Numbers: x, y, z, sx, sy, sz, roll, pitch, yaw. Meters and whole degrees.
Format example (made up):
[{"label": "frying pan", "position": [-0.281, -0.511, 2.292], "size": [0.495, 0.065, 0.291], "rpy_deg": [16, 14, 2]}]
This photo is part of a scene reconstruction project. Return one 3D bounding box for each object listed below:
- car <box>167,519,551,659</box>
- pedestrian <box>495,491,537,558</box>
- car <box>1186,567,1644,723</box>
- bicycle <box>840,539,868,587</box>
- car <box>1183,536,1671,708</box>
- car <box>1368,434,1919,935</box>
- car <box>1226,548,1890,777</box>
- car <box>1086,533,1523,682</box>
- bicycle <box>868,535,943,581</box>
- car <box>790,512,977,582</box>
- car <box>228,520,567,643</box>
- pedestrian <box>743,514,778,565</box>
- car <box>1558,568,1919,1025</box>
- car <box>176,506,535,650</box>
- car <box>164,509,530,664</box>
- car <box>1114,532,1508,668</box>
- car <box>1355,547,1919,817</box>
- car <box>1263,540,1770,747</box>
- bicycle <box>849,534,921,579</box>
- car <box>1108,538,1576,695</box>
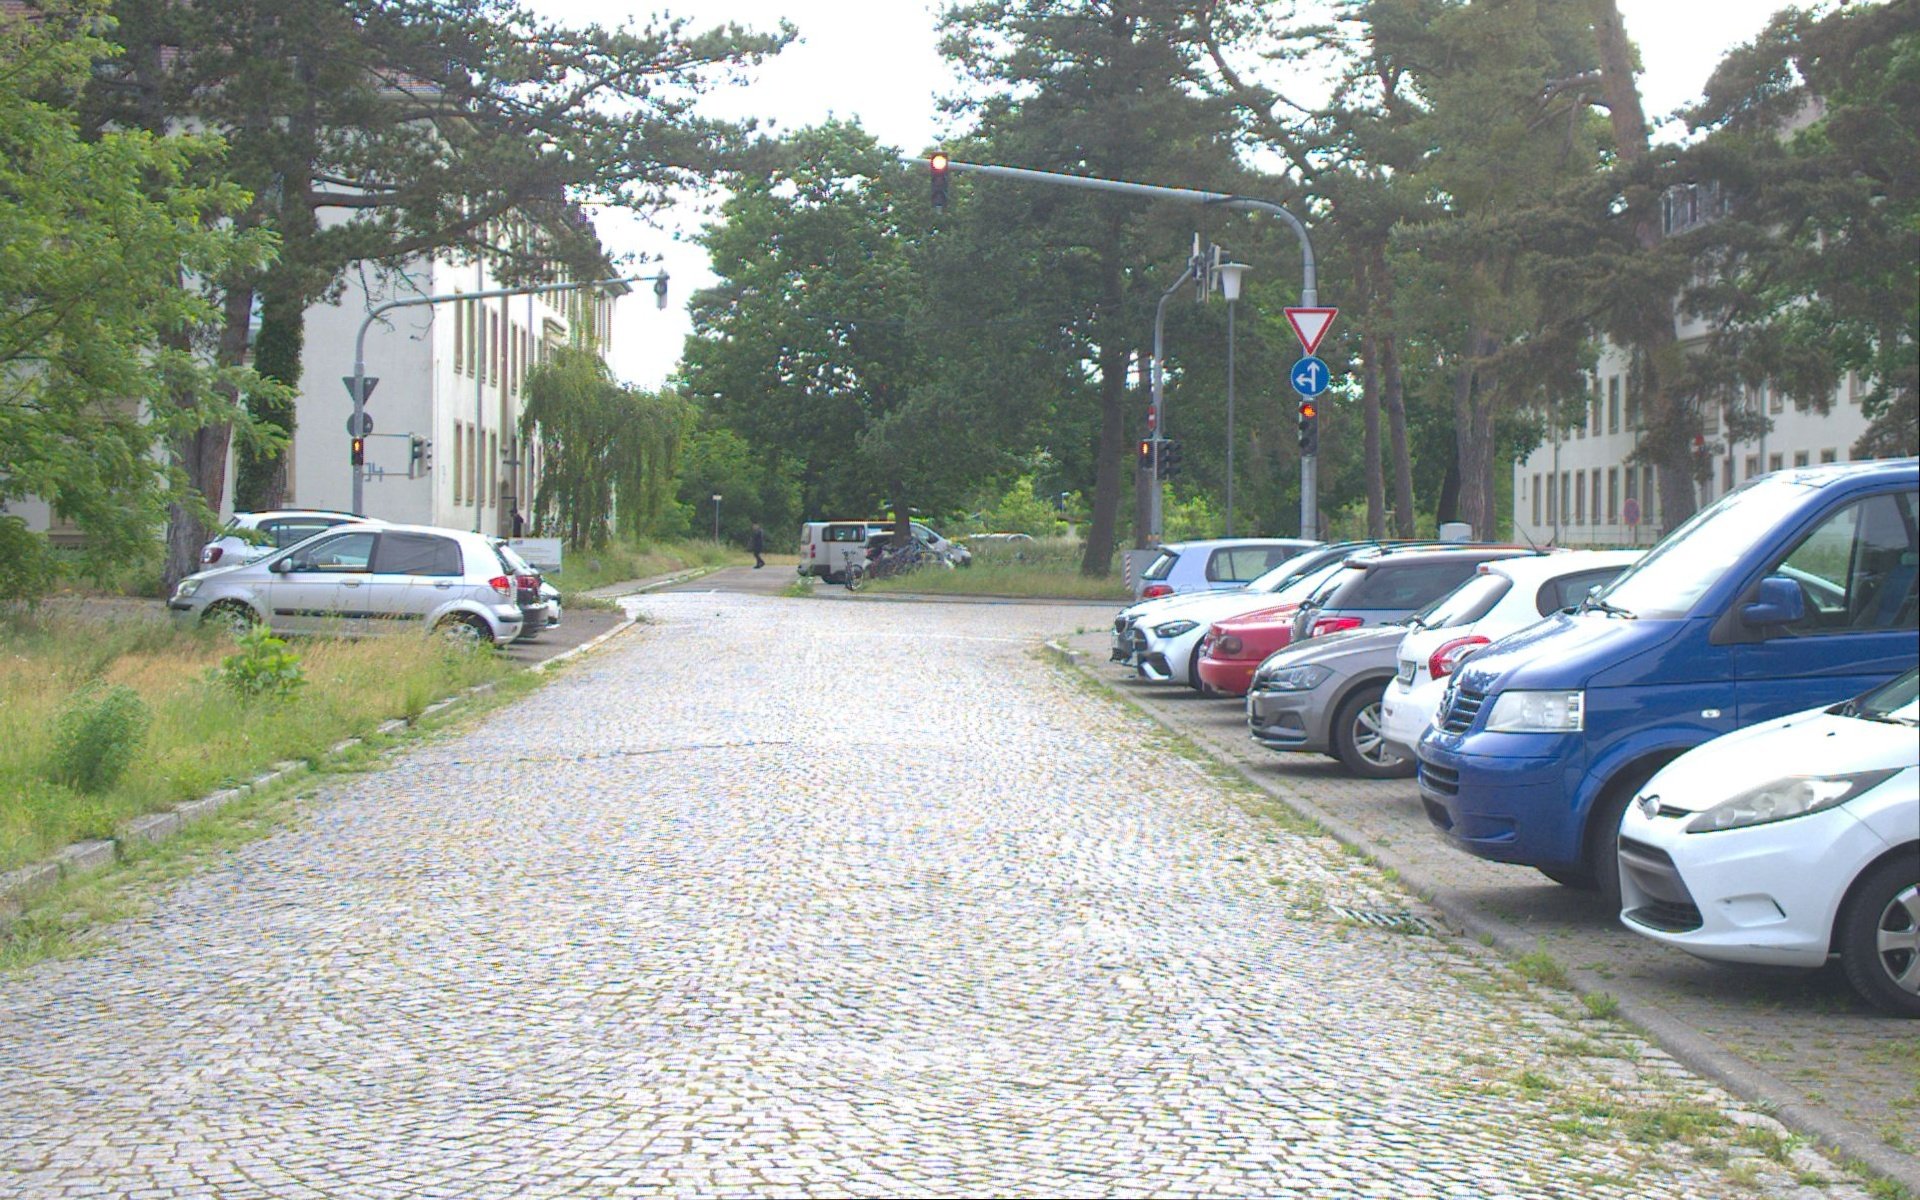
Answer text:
[{"label": "car", "position": [-6.937, -0.152, 39.997], "size": [4.297, 1.548, 1.812], "rpy_deg": [0, 1, -7]}, {"label": "pedestrian", "position": [-13.263, -2.243, 102.790], "size": [1.074, 1.952, 1.121], "rpy_deg": [2, 1, -2]}, {"label": "car", "position": [3.730, 0.357, 28.587], "size": [3.586, 1.218, 1.628], "rpy_deg": [0, 1, 0]}, {"label": "bicycle", "position": [-2.645, -0.924, 85.941], "size": [0.663, 1.167, 1.888], "rpy_deg": [2, 1, -2]}, {"label": "car", "position": [4.153, 0.176, 30.939], "size": [4.104, 1.471, 1.685], "rpy_deg": [0, 1, -3]}, {"label": "car", "position": [4.320, 0.303, 14.886], "size": [4.795, 1.997, 1.967], "rpy_deg": [0, 1, -3]}, {"label": "car", "position": [3.937, 0.389, 23.097], "size": [4.130, 1.442, 1.766], "rpy_deg": [0, 1, -1]}, {"label": "car", "position": [3.589, 0.052, 36.054], "size": [4.227, 1.474, 1.710], "rpy_deg": [-1, 1, -12]}, {"label": "bicycle", "position": [-1.437, -1.107, 90.606], "size": [1.881, 1.167, 0.665], "rpy_deg": [2, 1, -7]}, {"label": "car", "position": [-2.364, -1.623, 105.387], "size": [5.374, 2.094, 2.179], "rpy_deg": [0, 1, -14]}, {"label": "car", "position": [-7.358, -0.260, 45.246], "size": [4.297, 1.548, 1.812], "rpy_deg": [0, 1, -7]}, {"label": "pedestrian", "position": [-7.857, -2.389, 135.154], "size": [1.239, 1.952, 1.121], "rpy_deg": [2, 1, -7]}, {"label": "car", "position": [4.381, 0.631, 12.347], "size": [4.097, 1.473, 1.722], "rpy_deg": [0, 1, -5]}, {"label": "car", "position": [-7.464, -0.293, 42.787], "size": [4.297, 1.726, 1.653], "rpy_deg": [0, 1, -7]}, {"label": "car", "position": [-6.616, -0.158, 37.407], "size": [3.720, 1.475, 1.673], "rpy_deg": [3, 1, -4]}, {"label": "car", "position": [3.909, -0.019, 38.616], "size": [4.134, 1.458, 1.634], "rpy_deg": [0, 1, -7]}, {"label": "car", "position": [4.272, 0.445, 20.200], "size": [3.653, 1.473, 1.766], "rpy_deg": [0, 1, -2]}, {"label": "car", "position": [4.143, 0.301, 25.969], "size": [3.505, 1.482, 1.743], "rpy_deg": [0, 1, -2]}, {"label": "bicycle", "position": [-2.060, -1.189, 94.088], "size": [1.881, 1.167, 0.665], "rpy_deg": [2, 1, -7]}, {"label": "car", "position": [3.663, 0.135, 33.289], "size": [4.184, 1.432, 1.756], "rpy_deg": [-1, 1, -9]}]
